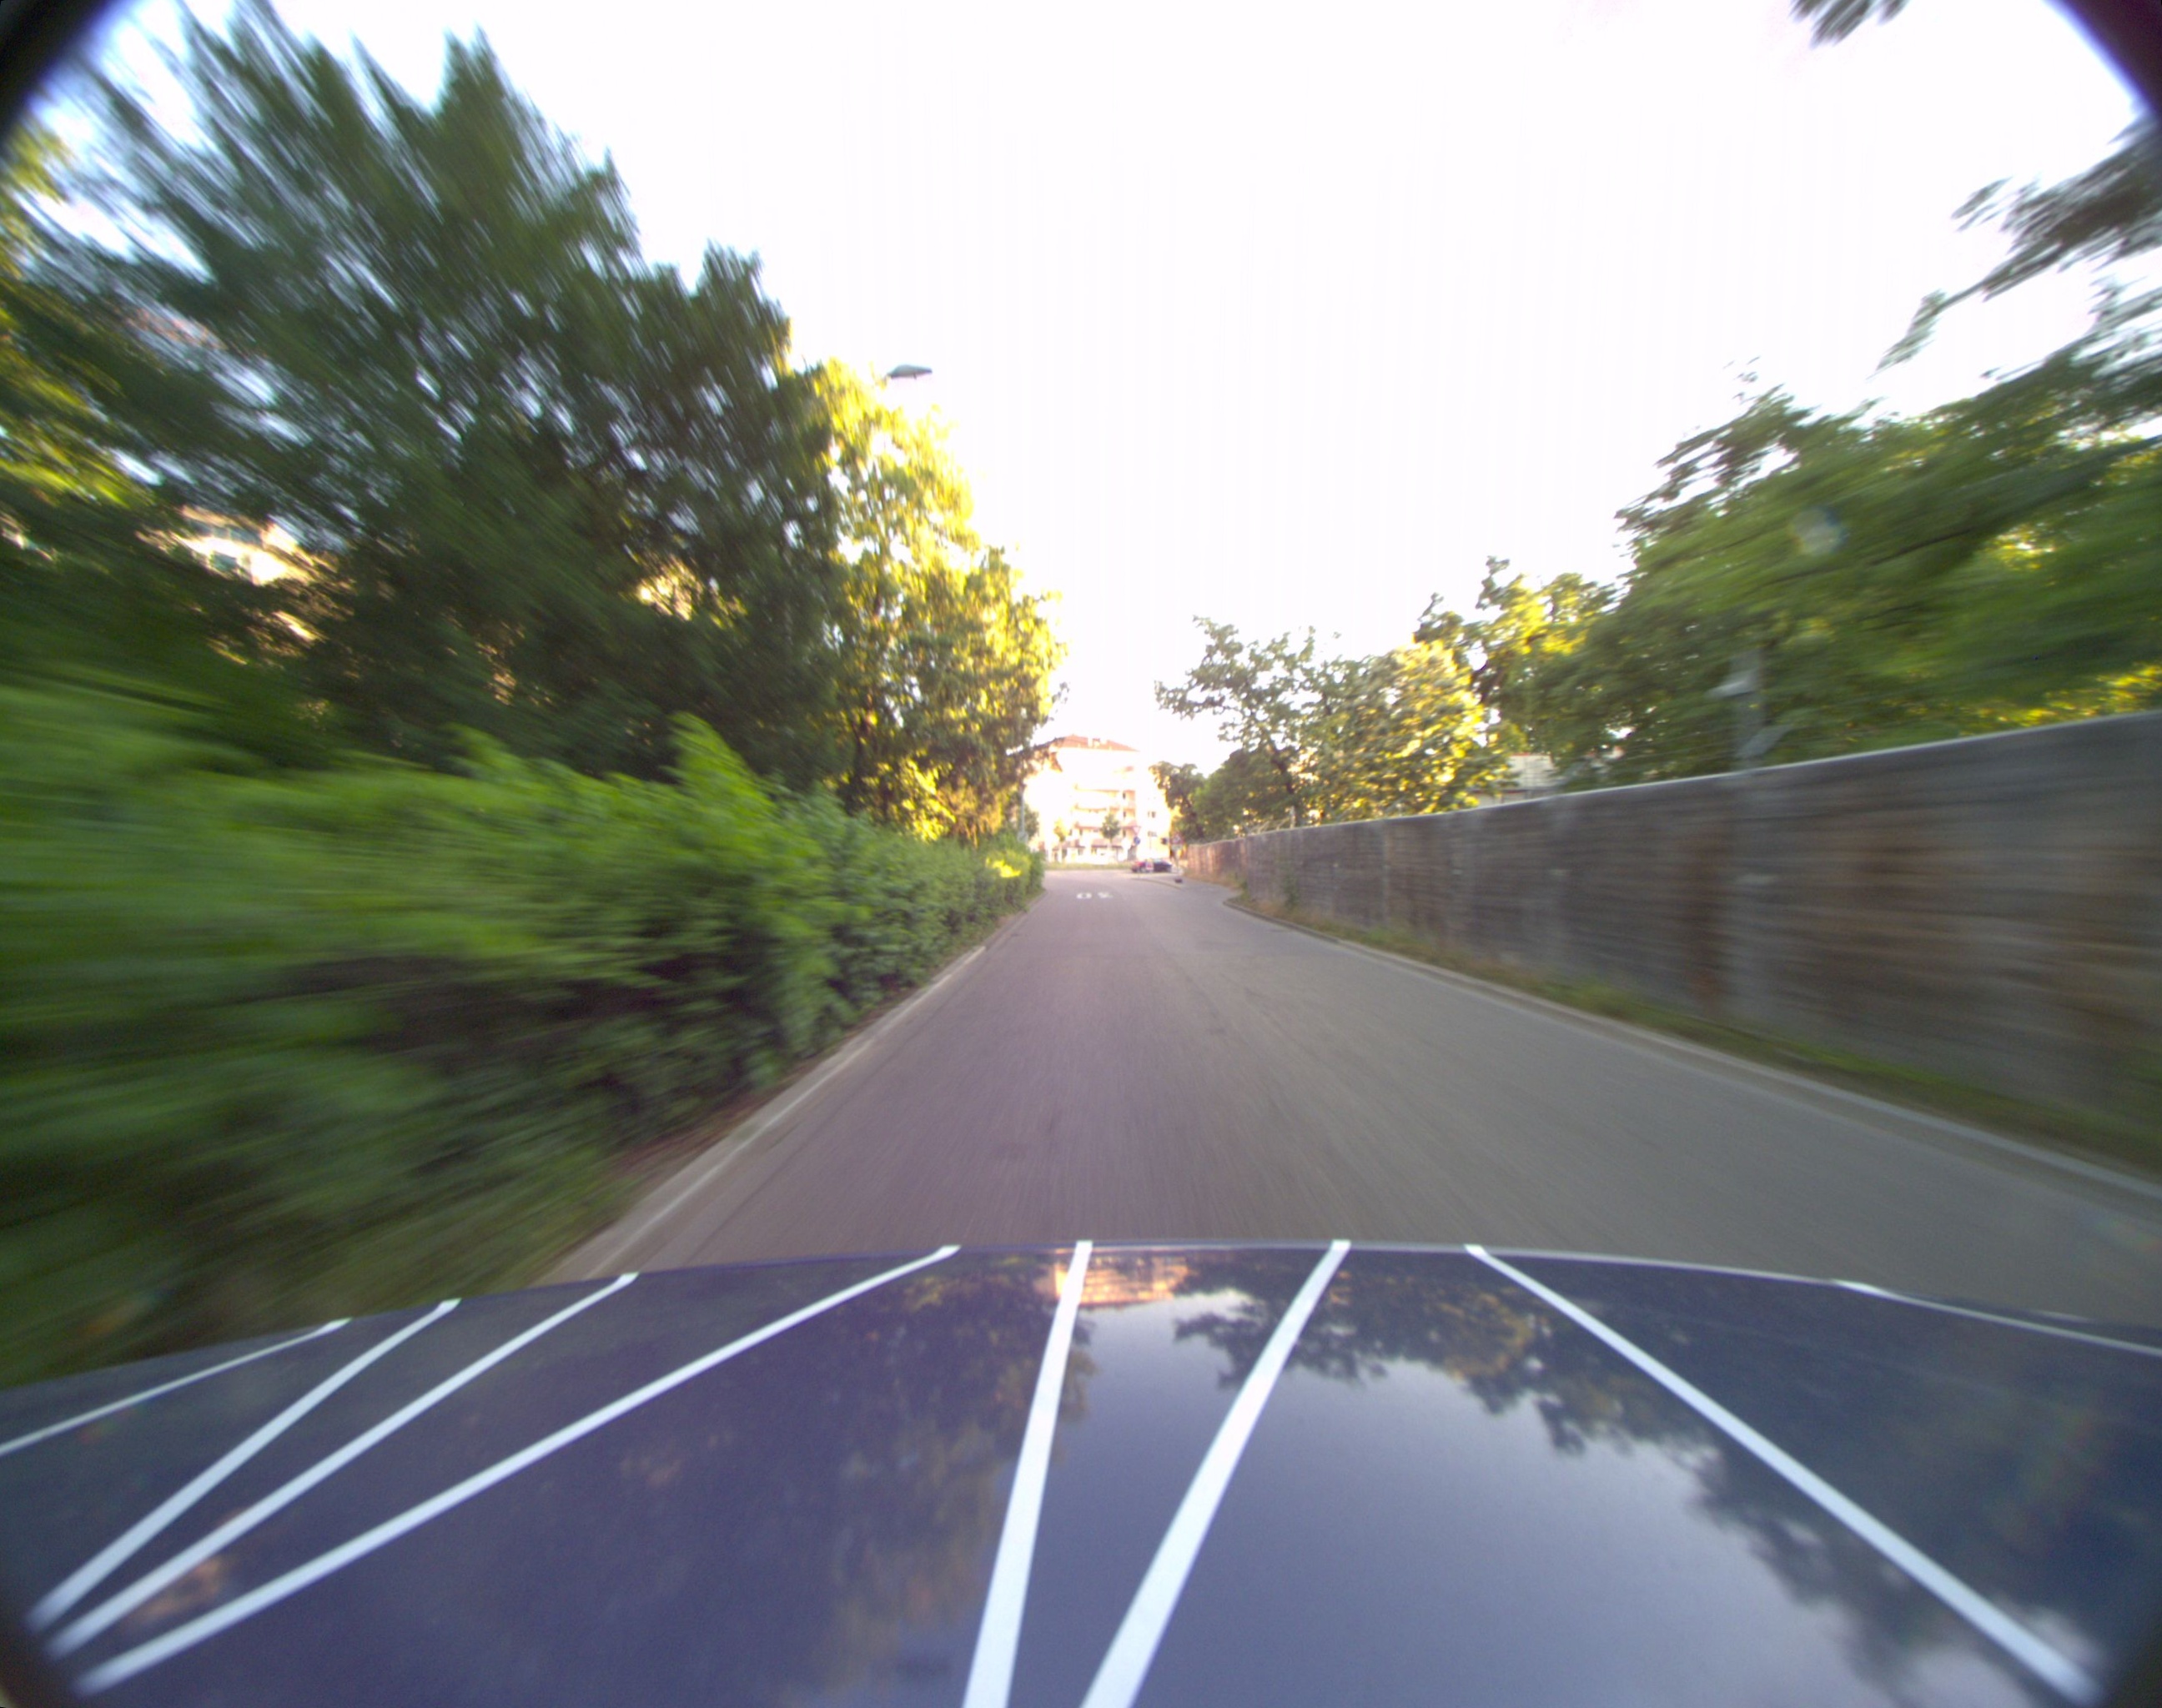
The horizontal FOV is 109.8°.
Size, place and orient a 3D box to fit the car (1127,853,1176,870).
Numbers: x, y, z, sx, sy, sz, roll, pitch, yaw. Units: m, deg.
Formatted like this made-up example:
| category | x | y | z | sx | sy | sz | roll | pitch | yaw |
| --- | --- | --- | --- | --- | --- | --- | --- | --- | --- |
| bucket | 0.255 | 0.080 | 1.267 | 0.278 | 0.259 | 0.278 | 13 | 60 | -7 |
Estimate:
| category | x | y | z | sx | sy | sz | roll | pitch | yaw |
| --- | --- | --- | --- | --- | --- | --- | --- | --- | --- |
| car | 6.221 | 0.664 | 66.945 | 3.912 | 1.380 | 1.797 | -1 | 1 | -20 |
